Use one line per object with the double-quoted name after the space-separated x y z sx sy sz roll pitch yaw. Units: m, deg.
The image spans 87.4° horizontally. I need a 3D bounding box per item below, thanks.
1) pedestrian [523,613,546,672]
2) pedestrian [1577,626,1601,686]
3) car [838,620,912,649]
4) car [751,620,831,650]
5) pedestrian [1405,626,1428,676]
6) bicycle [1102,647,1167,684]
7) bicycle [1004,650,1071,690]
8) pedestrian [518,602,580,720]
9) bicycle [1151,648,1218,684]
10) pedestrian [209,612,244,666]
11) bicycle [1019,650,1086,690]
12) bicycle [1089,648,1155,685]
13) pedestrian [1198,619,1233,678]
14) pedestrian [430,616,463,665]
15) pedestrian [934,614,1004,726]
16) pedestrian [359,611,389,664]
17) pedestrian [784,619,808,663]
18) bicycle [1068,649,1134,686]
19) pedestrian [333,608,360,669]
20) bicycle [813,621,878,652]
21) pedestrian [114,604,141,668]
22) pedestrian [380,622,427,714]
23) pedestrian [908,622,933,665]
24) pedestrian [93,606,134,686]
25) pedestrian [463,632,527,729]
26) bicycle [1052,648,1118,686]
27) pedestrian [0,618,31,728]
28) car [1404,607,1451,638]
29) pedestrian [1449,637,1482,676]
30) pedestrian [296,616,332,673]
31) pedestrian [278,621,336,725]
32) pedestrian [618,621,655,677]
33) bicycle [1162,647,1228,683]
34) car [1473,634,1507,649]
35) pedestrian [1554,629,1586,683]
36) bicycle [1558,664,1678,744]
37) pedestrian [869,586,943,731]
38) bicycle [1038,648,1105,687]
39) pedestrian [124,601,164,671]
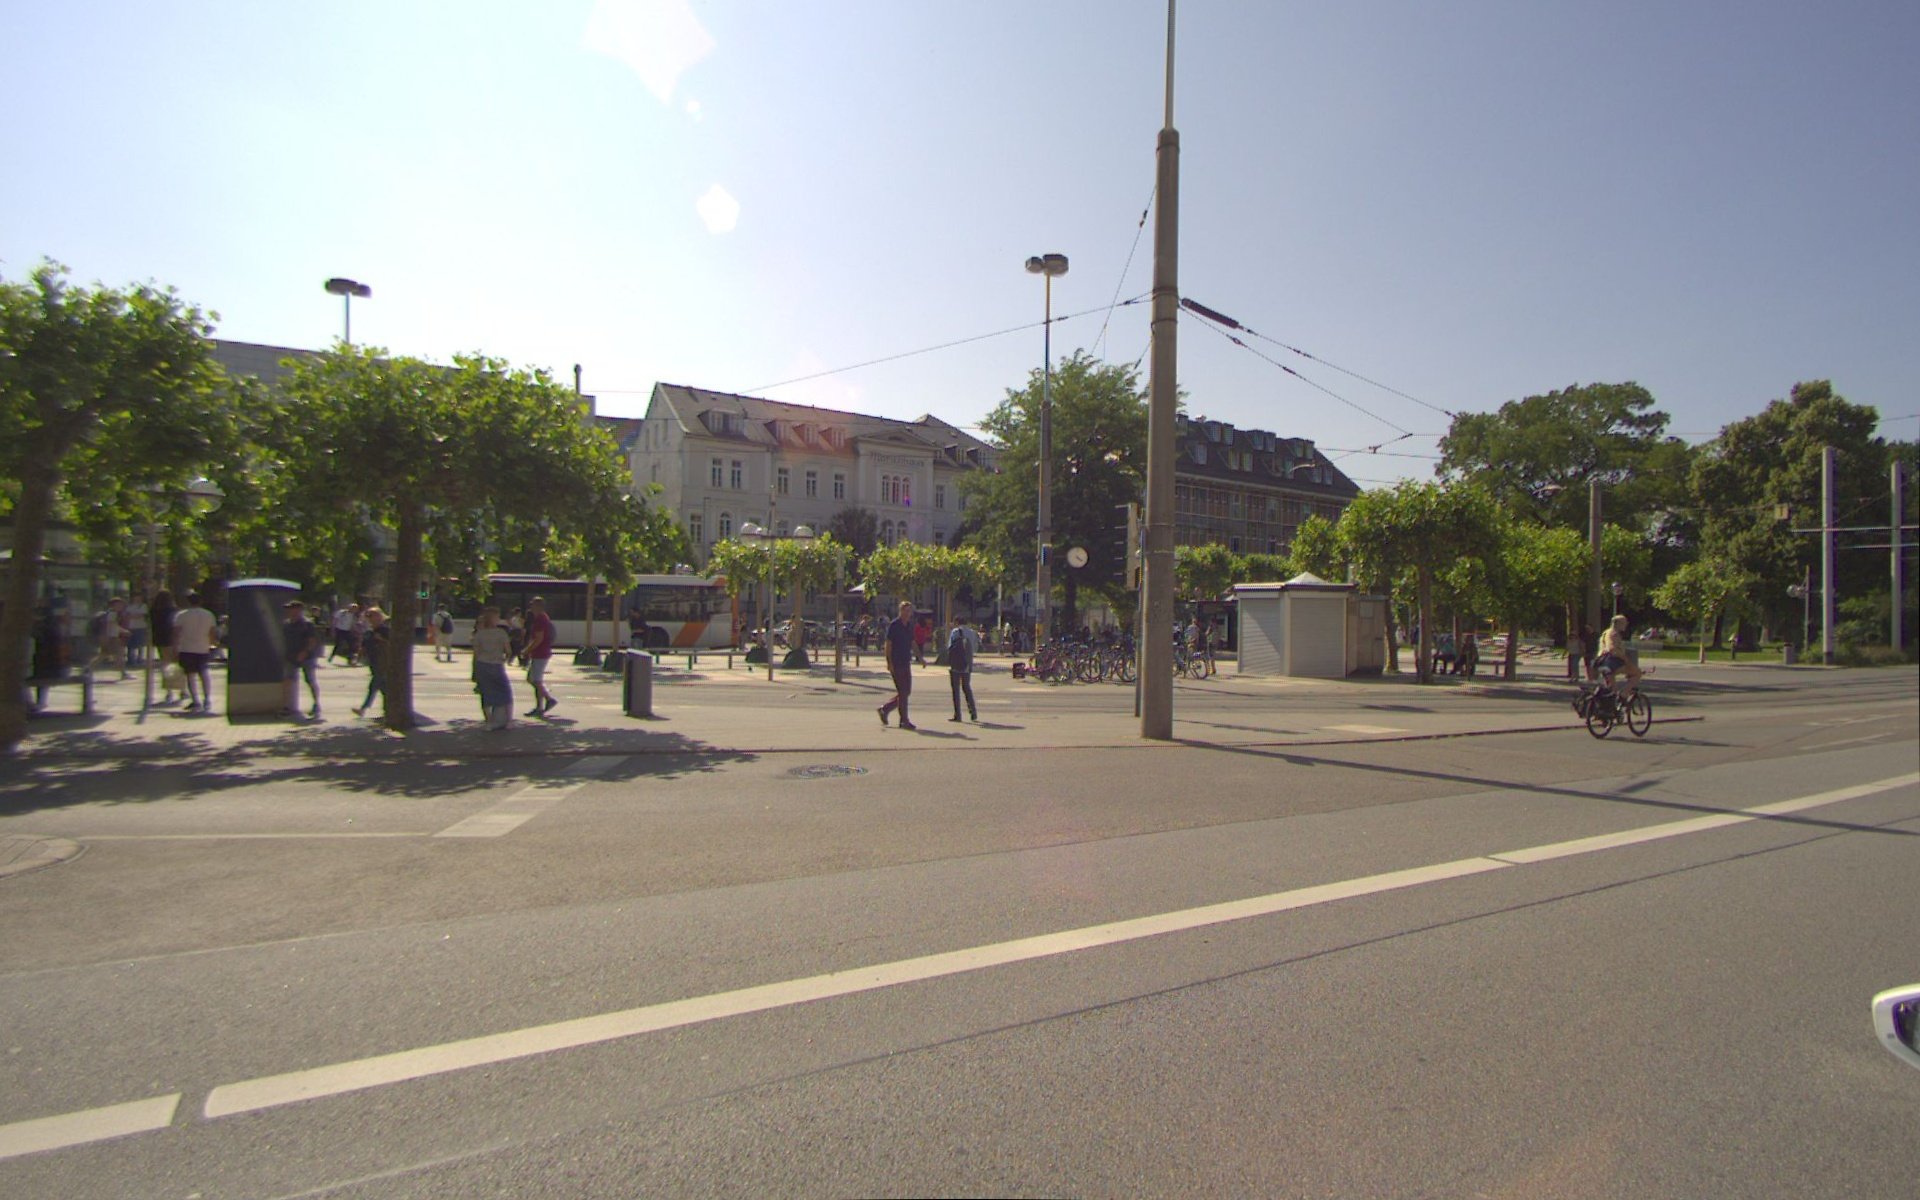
-11.415 1.144 26.970 0.523 1.573 0.597 0 -3 -28 "pedestrian"
18.847 1.671 30.099 0.517 1.756 0.587 -2 -3 29 "pedestrian"
-4.899 1.995 58.212 3.963 1.528 1.742 1 1 -37 "car"
-9.284 1.899 55.235 3.963 1.528 1.742 1 1 -37 "car"
15.002 1.677 33.026 0.566 1.630 0.602 -2 -3 30 "pedestrian"
4.935 1.832 28.481 0.578 0.881 1.847 1 1 -43 "bicycle"
2.015 1.803 26.187 0.543 0.868 1.847 1 1 -43 "bicycle"
-6.328 0.935 15.494 0.667 1.768 0.625 -1 -2 3 "pedestrian"
6.428 1.877 28.801 0.578 0.881 1.847 1 1 -43 "bicycle"
-20.804 1.104 28.507 0.671 1.484 0.621 0 -2 -25 "pedestrian"
2.439 1.837 26.606 0.579 0.883 1.847 1 1 -43 "bicycle"
4.470 1.820 27.894 0.543 0.868 1.847 1 1 -43 "bicycle"
7.833 1.489 30.794 0.741 1.751 0.836 -3 -3 36 "pedestrian"
-15.876 1.261 31.033 0.613 1.484 0.680 -2 -3 26 "pedestrian"
0.140 1.068 15.658 0.675 1.680 0.884 1 -1 -40 "pedestrian"
-16.792 1.086 28.781 0.615 1.484 0.551 -3 -3 37 "pedestrian"
-5.618 1.412 34.403 0.616 1.484 0.676 0 -3 -25 "pedestrian"
3.872 1.835 27.665 0.543 0.868 1.847 1 1 -43 "bicycle"
-17.280 1.096 28.300 0.465 1.687 0.520 -3 -3 37 "pedestrian"
-5.698 1.822 50.099 3.092 1.397 0.821 2 1 -1 "bicycle"
-22.973 0.995 27.718 0.550 1.741 0.464 -3 -3 37 "pedestrian"
-9.252 1.112 16.697 0.672 1.484 0.620 0 -3 -31 "pedestrian"
-1.369 1.520 34.950 0.667 1.484 0.625 -2 -2 21 "pedestrian"
-18.888 1.018 22.419 0.552 1.753 0.587 -3 -3 37 "pedestrian"
-6.207 1.061 13.416 0.543 1.250 0.579 1 -1 4 "pedestrian"
3.380 1.805 27.344 0.543 0.868 1.847 1 1 -43 "bicycle"
-13.261 0.993 13.668 0.612 1.484 0.681 -2 -2 16 "pedestrian"
52.324 2.513 112.470 5.359 3.360 2.115 1 1 -32 "car"
16.649 1.845 33.080 0.746 1.263 0.670 1 -3 -37 "pedestrian"
-17.706 1.226 27.534 0.615 1.521 0.678 -3 -3 37 "pedestrian"
-9.654 1.068 14.871 0.672 1.484 0.620 0 -3 -31 "pedestrian"
-8.487 1.281 26.380 0.667 1.437 0.625 -2 -2 21 "pedestrian"
6.824 1.886 29.213 0.578 0.881 1.847 1 1 -43 "bicycle"
58.132 4.515 110.137 3.963 1.528 1.742 1 1 -37 "car"
18.650 1.707 30.716 0.617 1.630 0.524 0 -2 -22 "pedestrian"
10.162 1.574 15.504 1.853 1.135 0.814 1 -3 -31 "bicycle"
-0.780 0.842 14.592 0.877 2.034 0.681 -1 -2 16 "pedestrian"
2.977 1.796 26.951 0.543 0.868 1.847 1 1 -43 "bicycle"
-21.643 0.964 26.634 0.615 1.818 0.678 -3 -3 37 "pedestrian"
